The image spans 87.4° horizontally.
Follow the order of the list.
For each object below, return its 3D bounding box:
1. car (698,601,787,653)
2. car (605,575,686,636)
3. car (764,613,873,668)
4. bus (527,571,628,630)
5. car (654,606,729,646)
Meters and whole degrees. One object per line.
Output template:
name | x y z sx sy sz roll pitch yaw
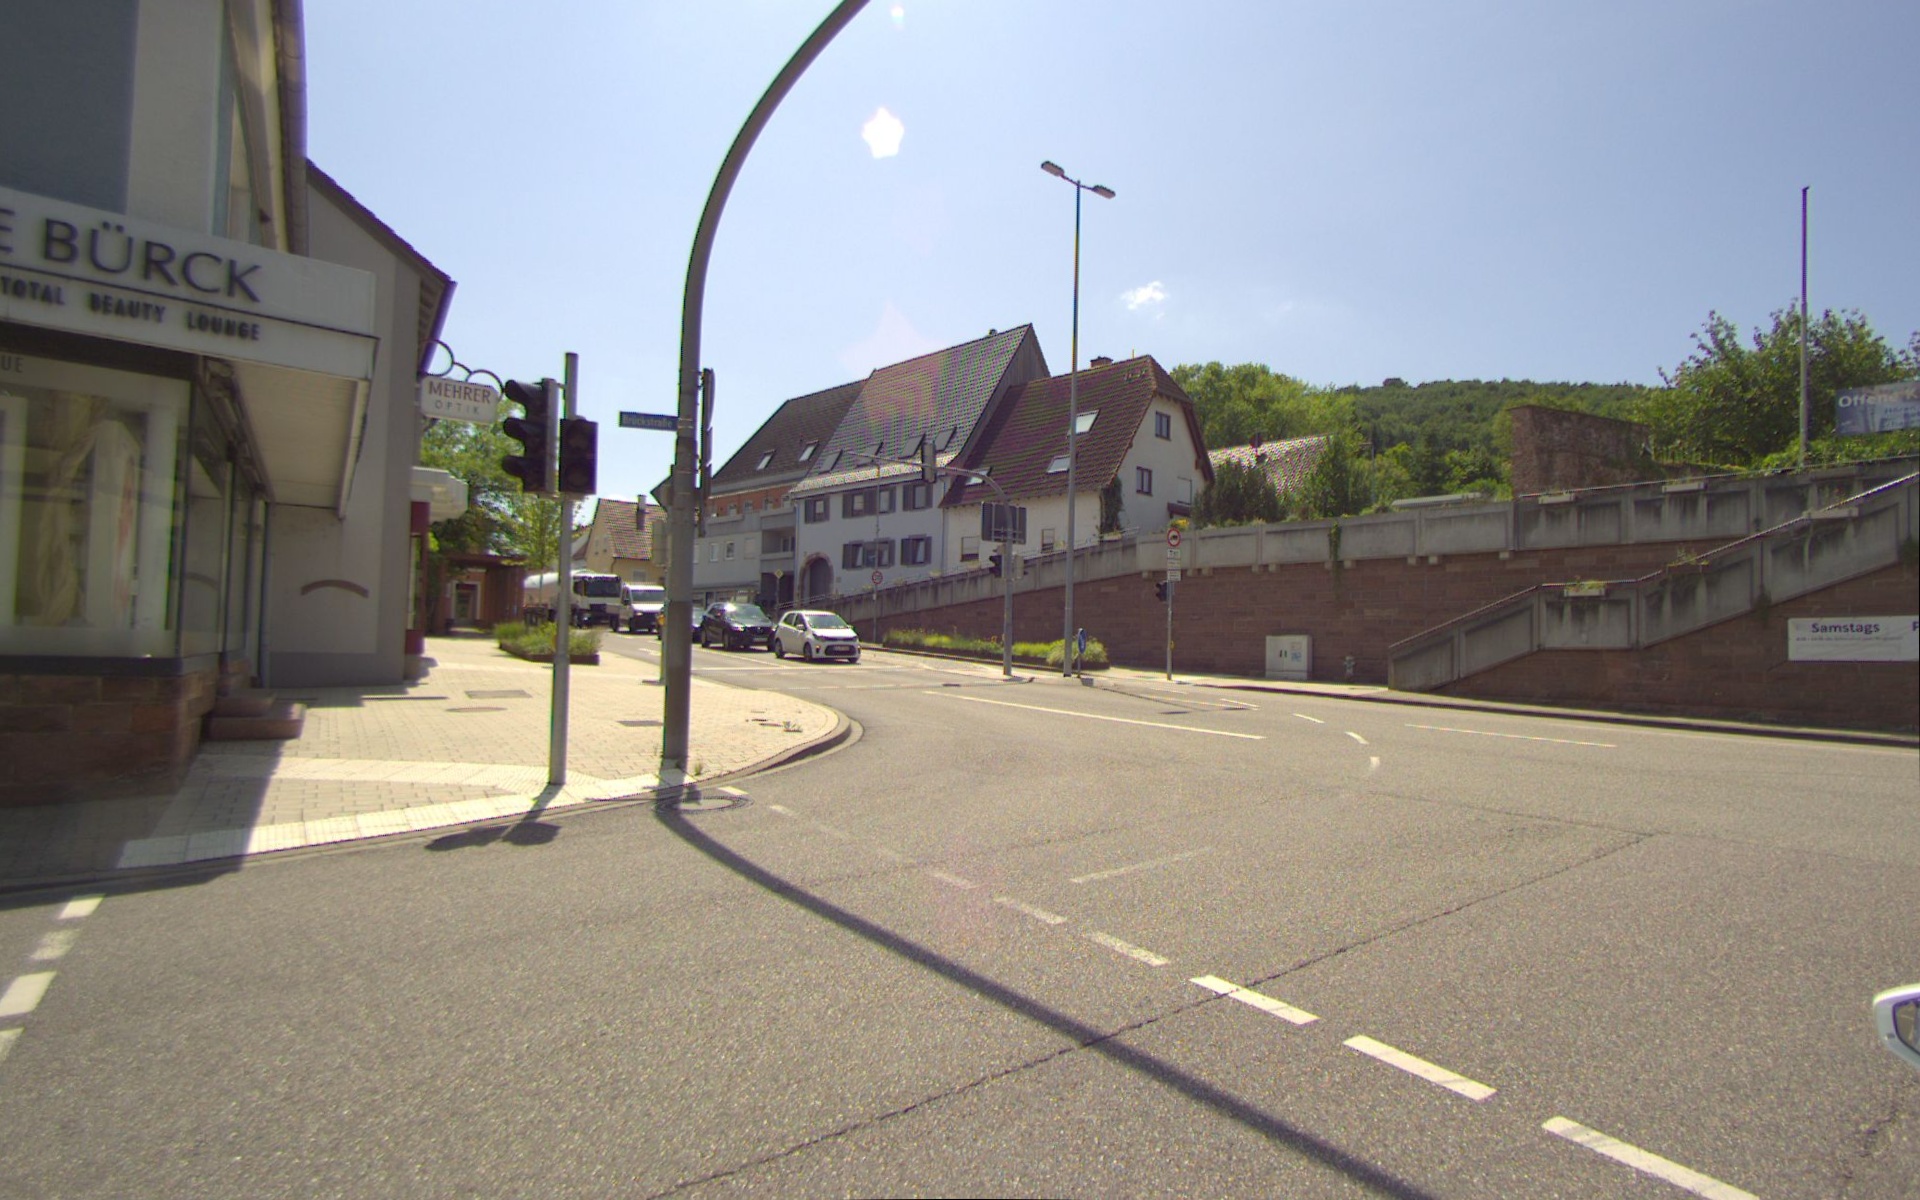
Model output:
car | -7.775 0.918 35.631 1.844 1.737 3.965 1 0 -32
car | -15.718 0.256 49.911 2.279 2.859 6.449 1 0 -32
car | -4.408 1.184 30.813 1.844 1.499 3.964 1 0 -33
bus | -23.285 -0.004 60.575 2.523 3.211 12.521 1 0 -36
car | -11.095 1.040 41.347 1.844 1.499 3.964 1 0 -33
